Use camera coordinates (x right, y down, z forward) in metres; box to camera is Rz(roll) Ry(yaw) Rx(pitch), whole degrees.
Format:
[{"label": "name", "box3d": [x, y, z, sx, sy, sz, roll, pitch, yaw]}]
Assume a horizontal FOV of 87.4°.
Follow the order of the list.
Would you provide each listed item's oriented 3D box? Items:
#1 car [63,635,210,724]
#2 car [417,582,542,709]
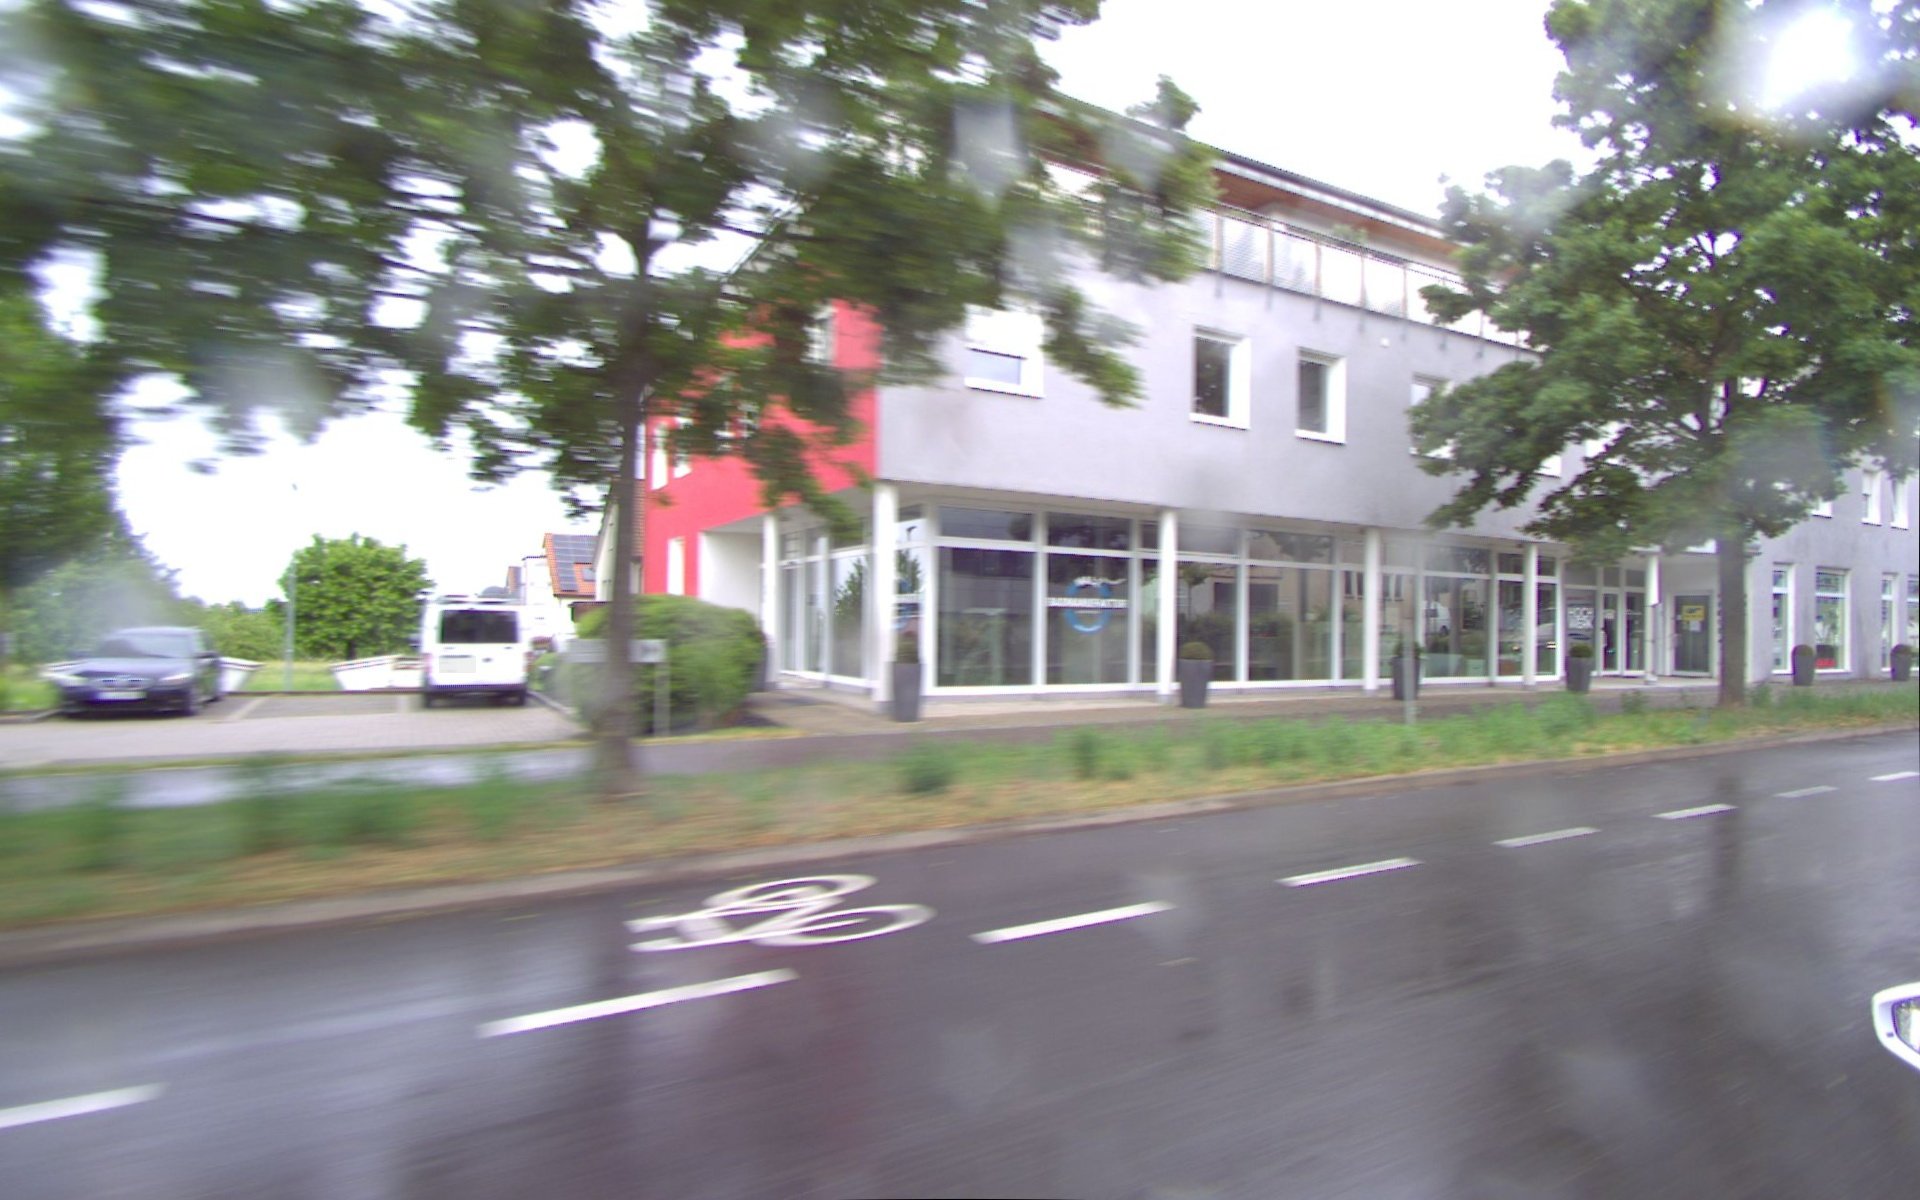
[{"label": "car", "box3d": [-14.428, 1.324, 17.758, 1.687, 1.261, 3.379, 0, 0, -34]}, {"label": "car", "box3d": [-10.140, 0.841, 21.108, 2.157, 2.341, 4.460, 0, 0, -28]}]
